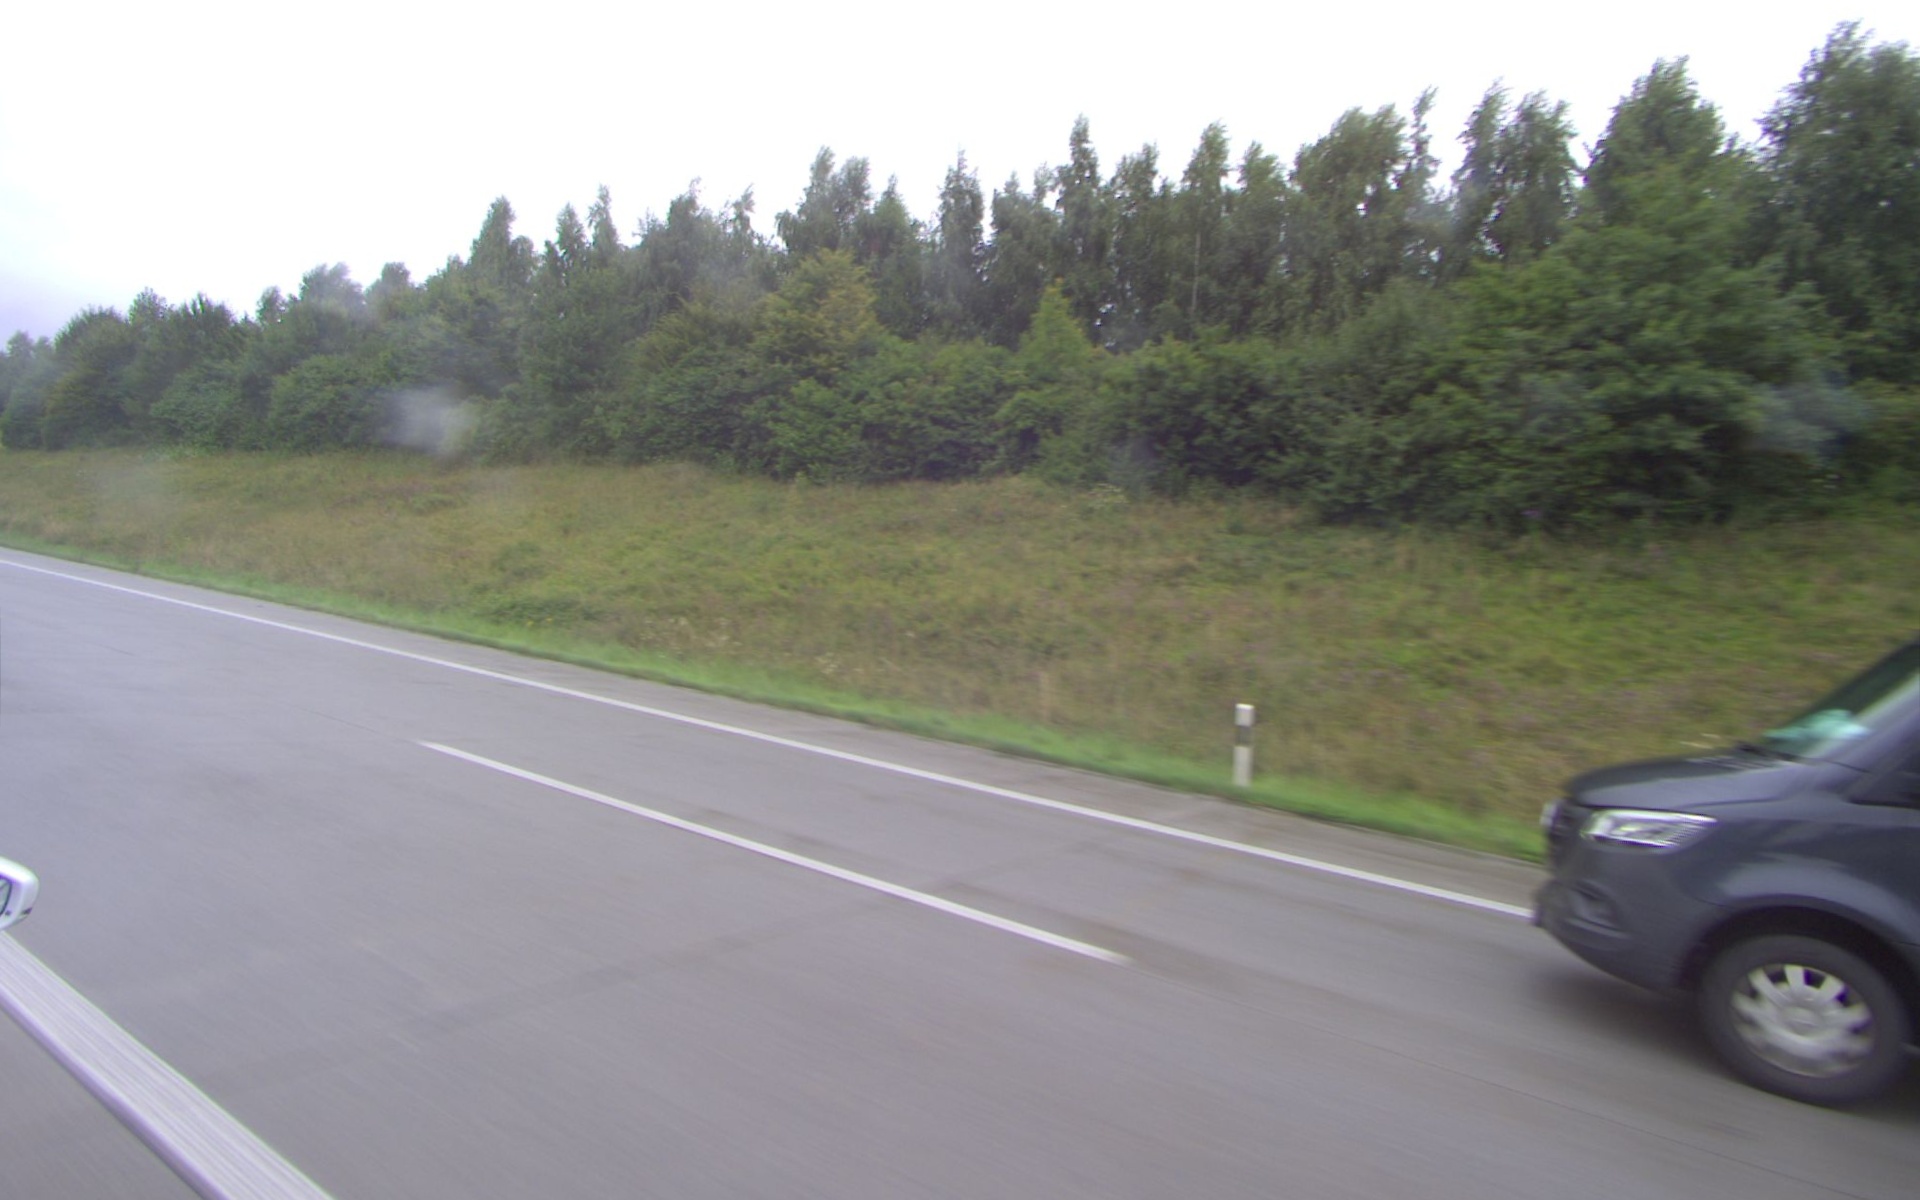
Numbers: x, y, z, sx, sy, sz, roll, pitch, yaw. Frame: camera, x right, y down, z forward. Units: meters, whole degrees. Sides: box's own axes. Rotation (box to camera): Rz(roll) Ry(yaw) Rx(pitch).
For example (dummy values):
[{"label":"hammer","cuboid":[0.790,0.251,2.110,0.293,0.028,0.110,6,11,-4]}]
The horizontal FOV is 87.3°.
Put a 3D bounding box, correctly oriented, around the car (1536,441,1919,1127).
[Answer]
[{"label":"car","cuboid":[6.049,1.027,3.730,6.478,2.690,1.944,7,-1,33]}]
